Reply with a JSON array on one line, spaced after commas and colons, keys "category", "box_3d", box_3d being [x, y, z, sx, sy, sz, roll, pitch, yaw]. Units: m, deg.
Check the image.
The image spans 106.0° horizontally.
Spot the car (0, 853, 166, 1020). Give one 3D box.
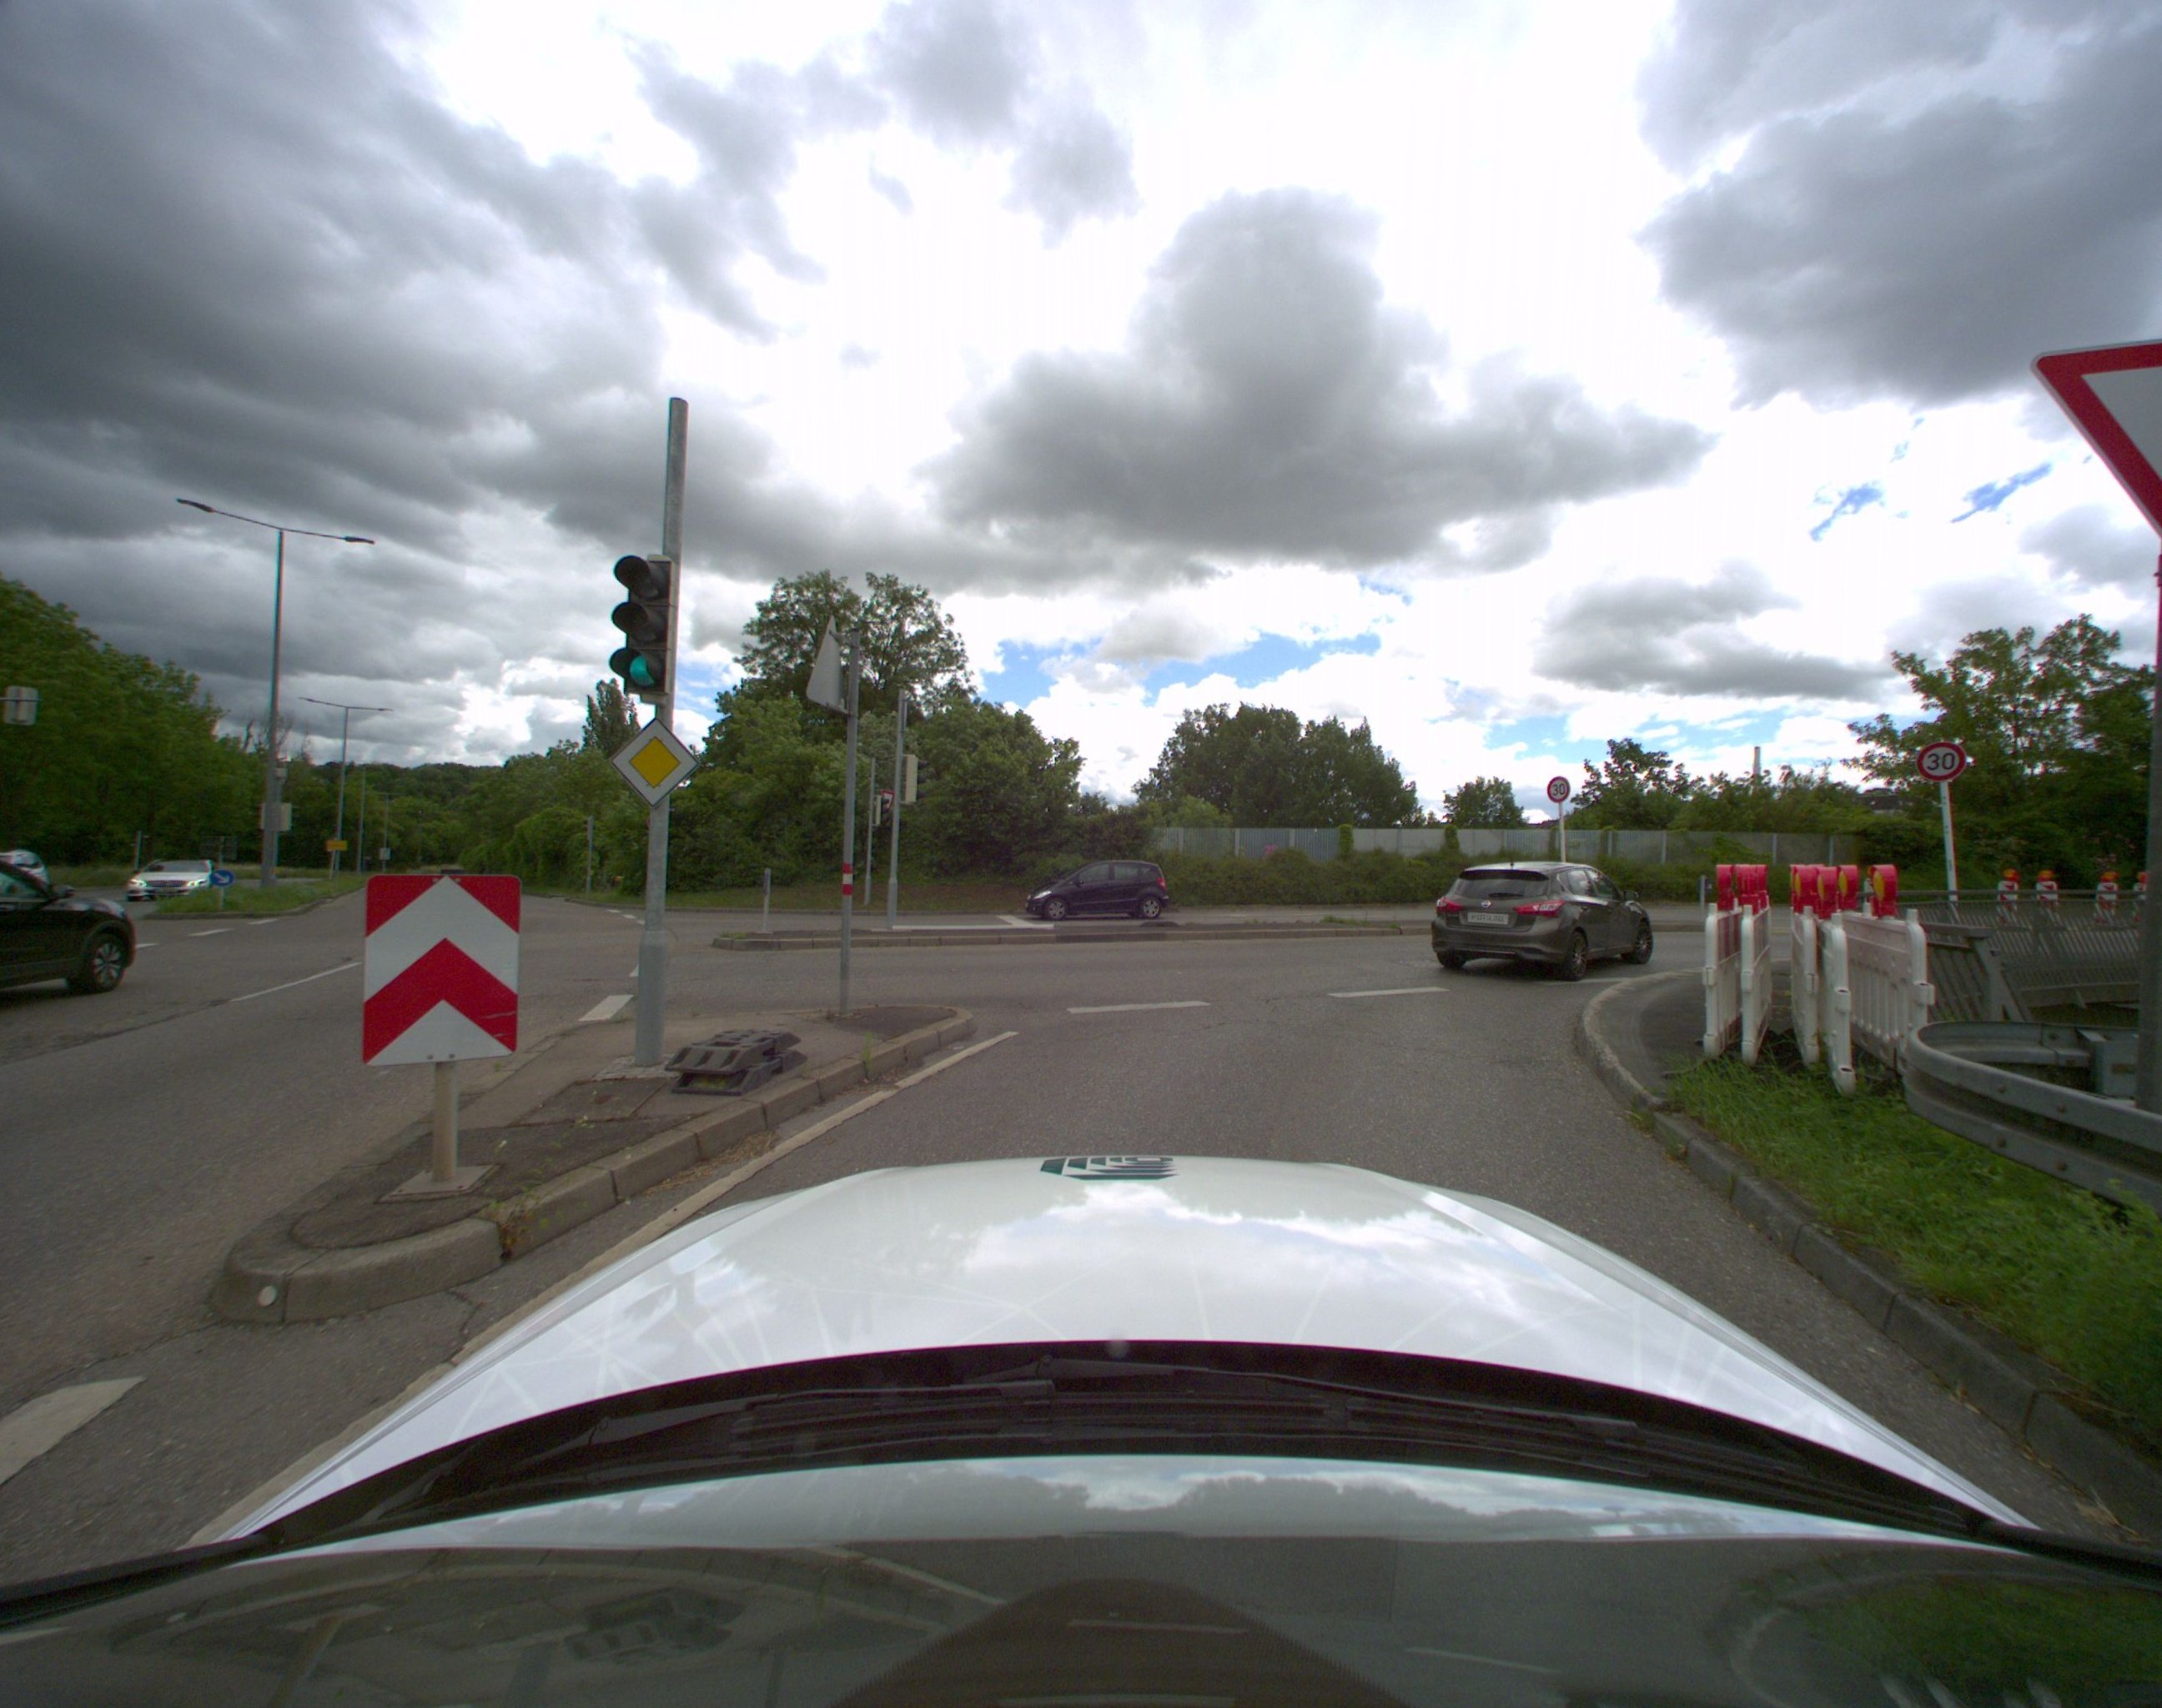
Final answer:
[{"category": "car", "box_3d": [-10.631, 0.747, 7.316, 1.662, 1.507, 3.743, 0, 0, -21]}]

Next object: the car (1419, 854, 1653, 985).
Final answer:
[{"category": "car", "box_3d": [6.657, 0.802, 11.739, 4.022, 1.552, 1.782, 1, -1, -43]}]

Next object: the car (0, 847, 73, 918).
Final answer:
[{"category": "car", "box_3d": [-31.946, 0.788, 23.880, 2.093, 1.759, 4.273, 4, 0, -40]}]

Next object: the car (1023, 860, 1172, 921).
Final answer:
[{"category": "car", "box_3d": [0.412, 0.974, 22.160, 3.779, 1.552, 1.636, 0, -3, -12]}]

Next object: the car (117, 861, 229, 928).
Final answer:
[{"category": "car", "box_3d": [-32.074, 1.379, 28.910, 1.945, 1.994, 4.273, 4, 0, -40]}]
